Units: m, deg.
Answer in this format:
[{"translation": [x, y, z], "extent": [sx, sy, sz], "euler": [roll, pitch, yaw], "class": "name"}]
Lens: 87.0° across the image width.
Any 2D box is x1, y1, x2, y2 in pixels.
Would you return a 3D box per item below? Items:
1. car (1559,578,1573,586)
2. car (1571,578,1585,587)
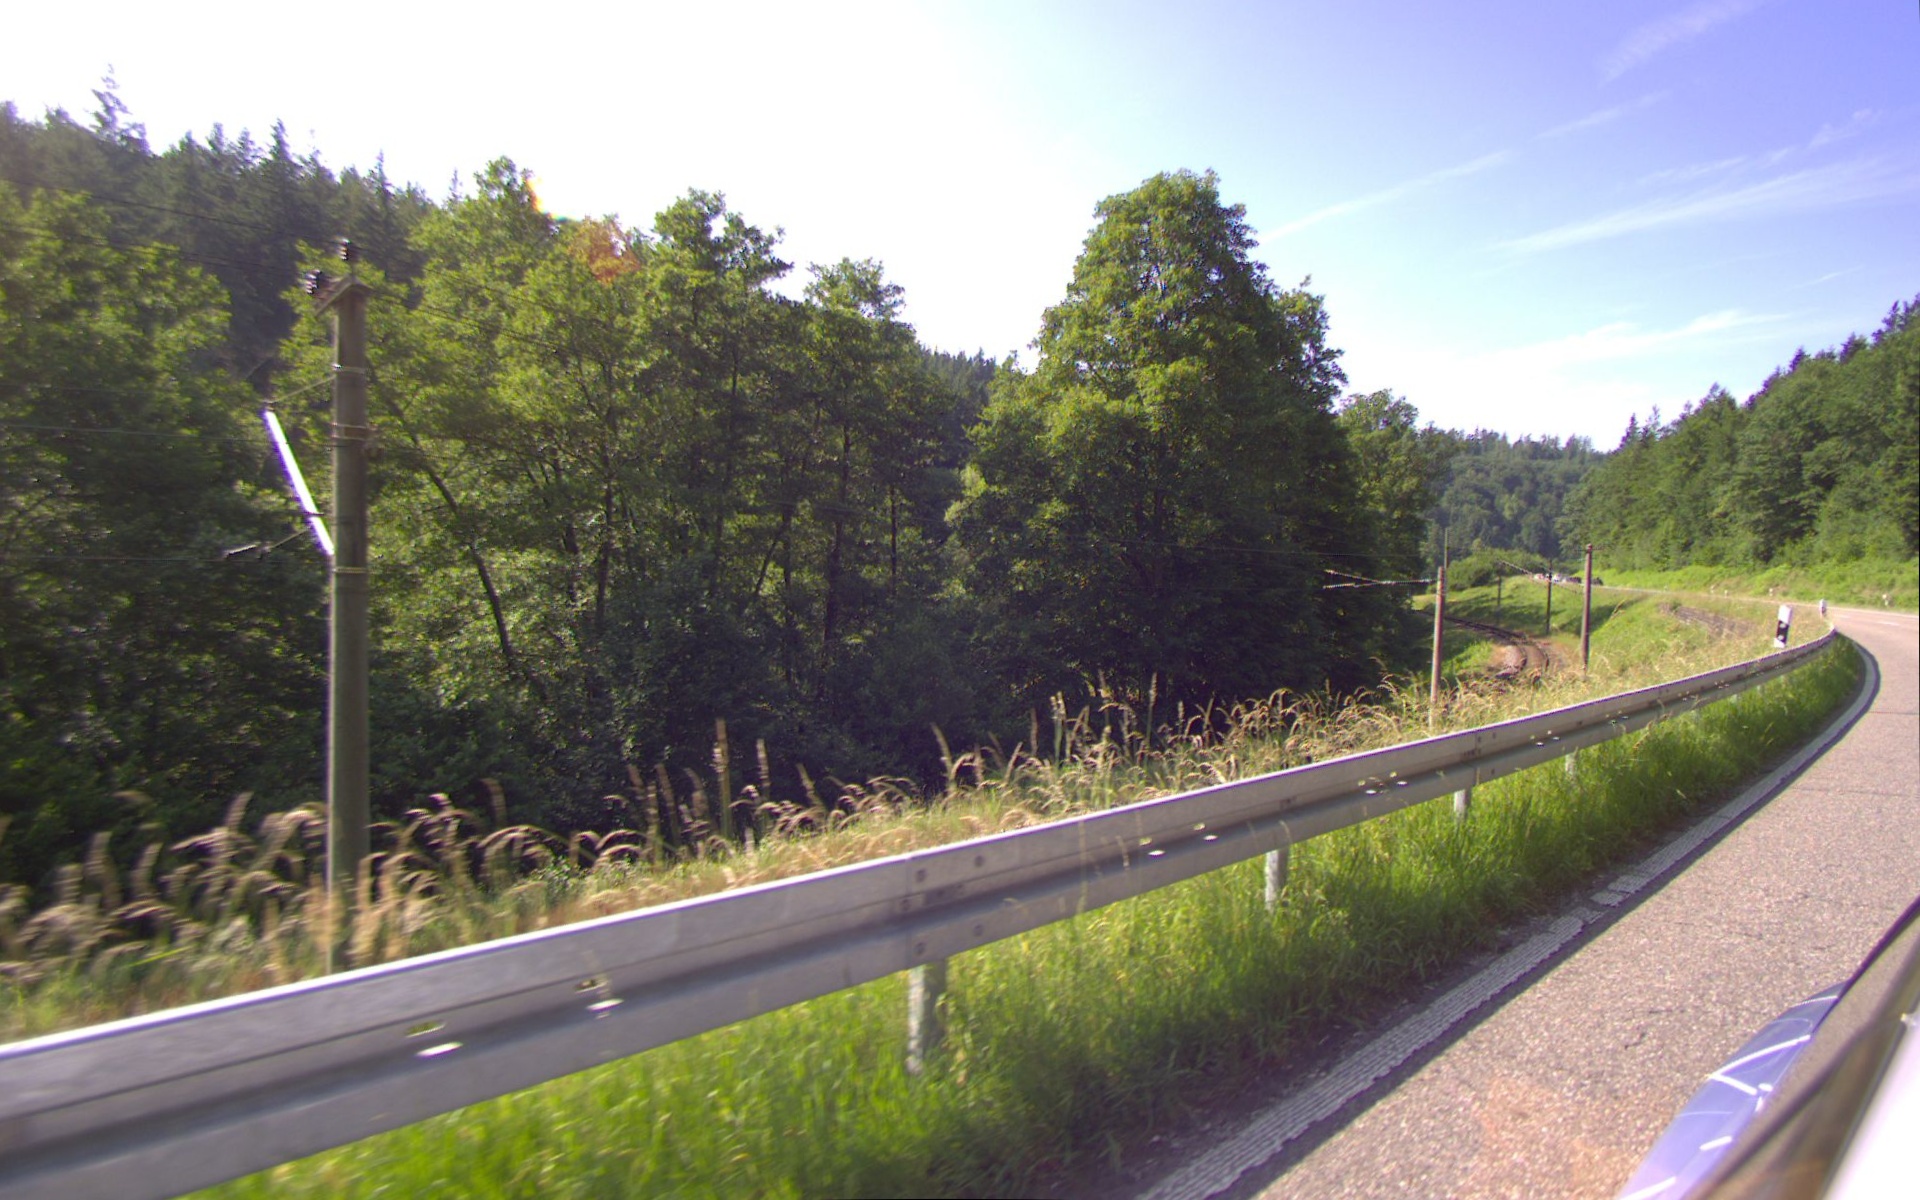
[{"translation": [123.053, -3.606, 205.502], "extent": [1.821, 1.448, 4.637], "euler": [3, 2, 26], "class": "car"}, {"translation": [116.909, -3.249, 191.387], "extent": [1.821, 1.649, 4.312], "euler": [1, 1, 27], "class": "car"}]
